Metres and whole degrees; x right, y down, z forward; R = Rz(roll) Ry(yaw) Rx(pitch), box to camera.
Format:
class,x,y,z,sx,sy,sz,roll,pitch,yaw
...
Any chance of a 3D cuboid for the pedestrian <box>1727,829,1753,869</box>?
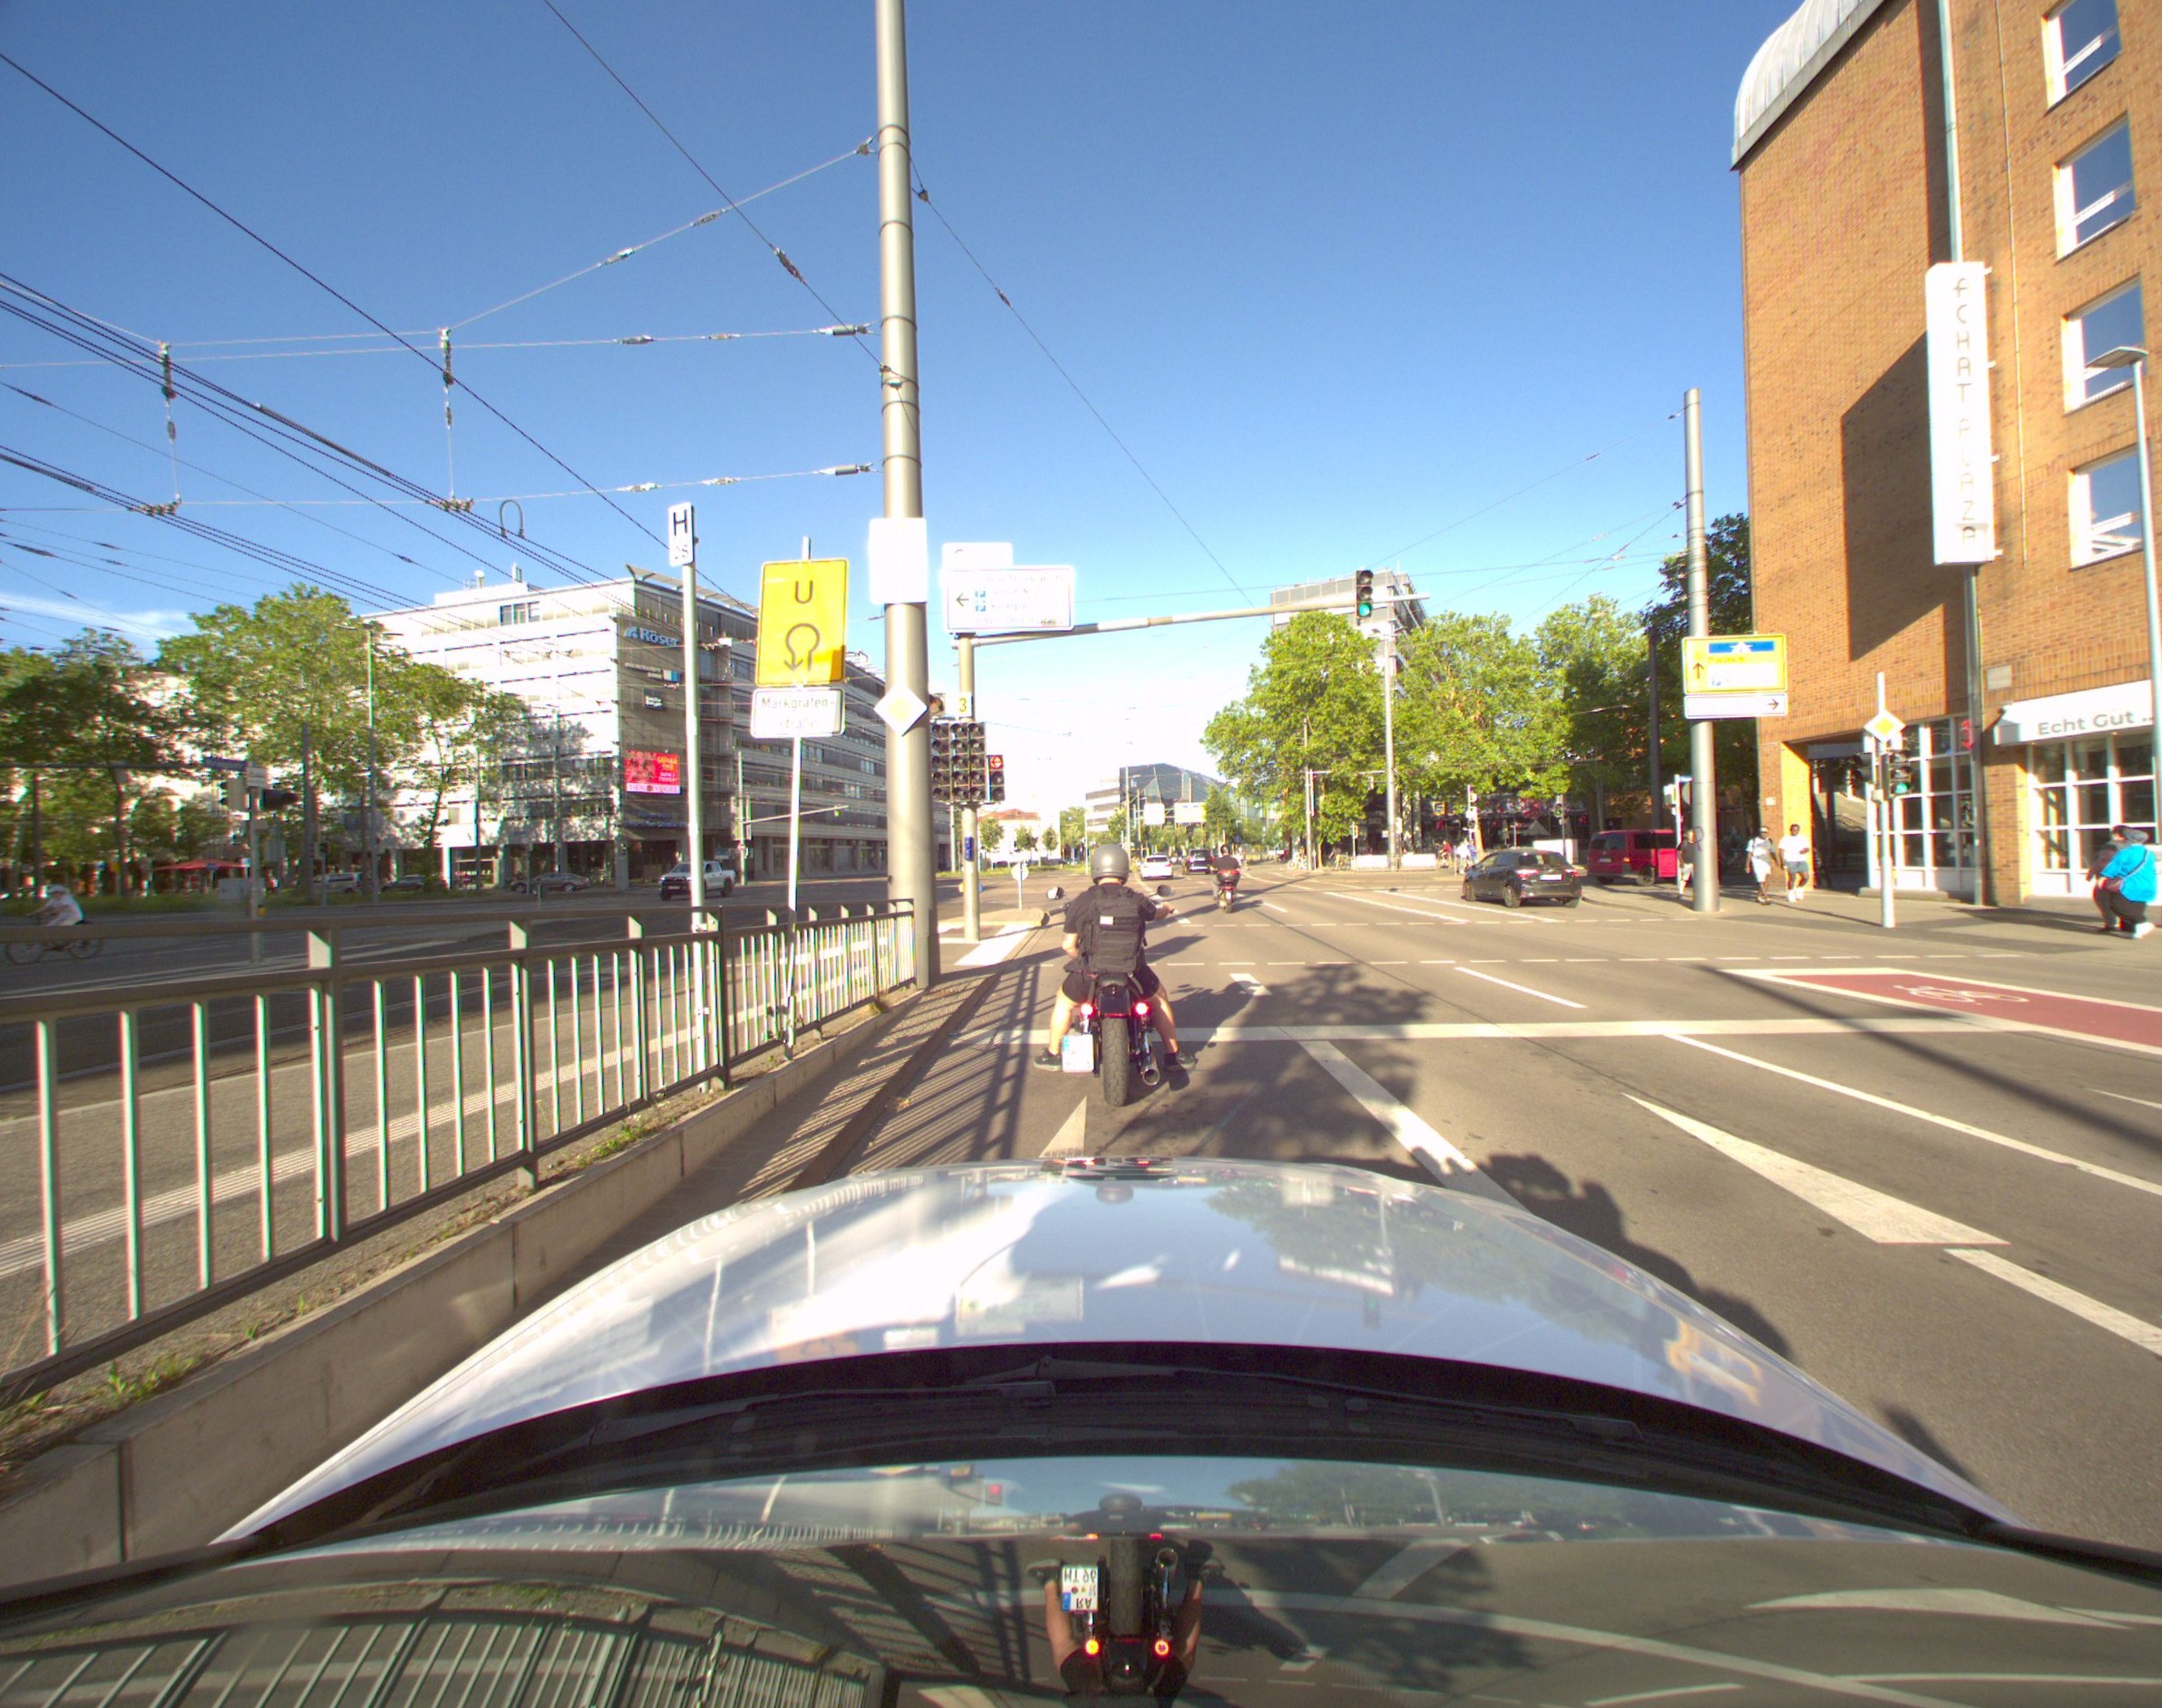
class,x,y,z,sx,sy,sz,roll,pitch,yaw
pedestrian,28.033,-0.206,34.658,0.634,1.700,0.727,-1,-1,21

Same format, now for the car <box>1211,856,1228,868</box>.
class,x,y,z,sx,sy,sz,roll,pitch,yaw
car,20.044,1.205,117.690,1.789,1.678,4.059,0,-1,18

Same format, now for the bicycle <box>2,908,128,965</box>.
class,x,y,z,sx,sy,sz,roll,pitch,yaw
bicycle,-22.637,1.814,18.198,0.458,1.090,1.815,-3,-1,2

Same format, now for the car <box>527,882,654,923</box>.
class,x,y,z,sx,sy,sz,roll,pitch,yaw
car,-13.854,1.359,23.141,2.884,1.063,1.235,0,-1,-19

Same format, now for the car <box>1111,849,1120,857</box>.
class,x,y,z,sx,sy,sz,roll,pitch,yaw
car,8.747,-0.322,204.846,1.982,2.014,4.309,0,-1,8

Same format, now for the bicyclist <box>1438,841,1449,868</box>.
class,x,y,z,sx,sy,sz,roll,pitch,yaw
bicyclist,25.005,0.042,56.169,0.582,1.837,0.403,0,-1,1

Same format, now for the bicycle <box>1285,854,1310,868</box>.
class,x,y,z,sx,sy,sz,roll,pitch,yaw
bicycle,17.291,0.571,65.088,1.854,1.044,0.540,-1,-1,20

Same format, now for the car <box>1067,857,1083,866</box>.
class,x,y,z,sx,sy,sz,roll,pitch,yaw
car,-0.990,1.242,137.554,1.736,1.524,4.016,-1,-1,16

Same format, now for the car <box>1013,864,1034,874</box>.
class,x,y,z,sx,sy,sz,roll,pitch,yaw
car,-8.229,2.099,117.184,1.812,1.430,4.256,-1,-1,13

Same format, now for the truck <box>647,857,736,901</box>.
class,x,y,z,sx,sy,sz,roll,pitch,yaw
truck,-18.644,1.202,39.322,1.990,1.880,5.148,-4,-1,-4

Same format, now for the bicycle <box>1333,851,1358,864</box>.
class,x,y,z,sx,sy,sz,roll,pitch,yaw
bicycle,21.477,0.306,66.175,1.874,1.046,0.360,0,-1,1

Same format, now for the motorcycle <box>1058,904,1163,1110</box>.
class,x,y,z,sx,sy,sz,roll,pitch,yaw
motorcycle,0.206,0.948,5.796,0.598,1.036,2.235,0,0,2

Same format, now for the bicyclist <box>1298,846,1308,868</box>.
class,x,y,z,sx,sy,sz,roll,pitch,yaw
bicyclist,17.712,0.244,64.947,0.682,1.673,0.544,-2,-2,21

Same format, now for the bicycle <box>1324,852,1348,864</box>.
class,x,y,z,sx,sy,sz,roll,pitch,yaw
bicycle,21.486,0.350,68.664,1.874,1.046,0.360,0,0,1

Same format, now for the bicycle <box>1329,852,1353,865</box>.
class,x,y,z,sx,sy,sz,roll,pitch,yaw
bicycle,21.537,0.348,67.545,1.874,1.046,0.360,0,0,1

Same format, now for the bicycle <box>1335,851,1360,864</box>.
class,x,y,z,sx,sy,sz,roll,pitch,yaw
bicycle,21.383,0.285,65.393,1.874,1.046,0.360,0,-1,1

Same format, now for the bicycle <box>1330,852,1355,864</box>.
class,x,y,z,sx,sy,sz,roll,pitch,yaw
bicycle,21.508,0.330,66.989,1.874,1.046,0.360,0,-1,1

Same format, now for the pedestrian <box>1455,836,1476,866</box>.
class,x,y,z,sx,sy,sz,roll,pitch,yaw
pedestrian,21.777,-0.153,46.140,0.829,1.704,0.760,0,-1,2

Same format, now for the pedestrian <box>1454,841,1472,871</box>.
class,x,y,z,sx,sy,sz,roll,pitch,yaw
pedestrian,19.742,0.120,42.086,0.565,1.533,0.701,0,-1,-6

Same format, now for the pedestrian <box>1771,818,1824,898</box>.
class,x,y,z,sx,sy,sz,roll,pitch,yaw
pedestrian,16.399,0.093,18.658,0.588,1.780,0.684,-3,-1,13

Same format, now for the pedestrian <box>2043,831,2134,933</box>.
class,x,y,z,sx,sy,sz,roll,pitch,yaw
pedestrian,15.187,0.417,12.289,0.590,1.476,0.552,-2,-1,2

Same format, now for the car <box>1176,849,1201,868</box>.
class,x,y,z,sx,sy,sz,roll,pitch,yaw
car,9.241,0.373,70.003,1.725,1.598,4.043,0,0,2

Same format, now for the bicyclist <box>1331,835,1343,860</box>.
class,x,y,z,sx,sy,sz,roll,pitch,yaw
bicyclist,18.149,-0.455,57.707,0.693,1.808,0.730,0,-1,6

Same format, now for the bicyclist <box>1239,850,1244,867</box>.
class,x,y,z,sx,sy,sz,roll,pitch,yaw
bicyclist,13.121,0.385,66.760,0.378,1.373,0.346,-1,-1,9

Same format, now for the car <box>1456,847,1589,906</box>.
class,x,y,z,sx,sy,sz,roll,pitch,yaw
car,11.785,0.550,22.067,1.723,1.450,4.047,-1,0,5

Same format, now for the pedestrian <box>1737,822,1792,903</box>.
class,x,y,z,sx,sy,sz,roll,pitch,yaw
pedestrian,15.571,0.181,18.558,0.591,1.779,0.681,-5,2,-2

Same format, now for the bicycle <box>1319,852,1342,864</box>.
class,x,y,z,sx,sy,sz,roll,pitch,yaw
bicycle,21.539,0.356,70.315,1.874,1.046,0.360,0,0,1

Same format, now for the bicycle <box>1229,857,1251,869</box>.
class,x,y,z,sx,sy,sz,roll,pitch,yaw
bicycle,13.023,0.746,66.768,1.814,0.925,0.358,0,-1,9

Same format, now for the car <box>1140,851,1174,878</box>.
class,x,y,z,sx,sy,sz,roll,pitch,yaw
car,4.388,0.624,47.722,1.725,1.457,4.419,0,-1,2

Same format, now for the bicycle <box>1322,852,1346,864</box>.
class,x,y,z,sx,sy,sz,roll,pitch,yaw
bicycle,21.470,0.351,69.164,1.874,1.046,0.360,0,0,1

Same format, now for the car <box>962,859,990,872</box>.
class,x,y,z,sx,sy,sz,roll,pitch,yaw
car,-12.440,1.391,96.865,1.812,1.430,4.546,-2,0,13

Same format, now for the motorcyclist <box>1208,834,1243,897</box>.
class,x,y,z,sx,sy,sz,roll,pitch,yaw
motorcyclist,3.654,0.289,20.593,0.793,1.580,0.529,0,-1,1

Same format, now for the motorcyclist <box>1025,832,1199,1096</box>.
class,x,y,z,sx,sy,sz,roll,pitch,yaw
motorcyclist,0.204,0.674,5.428,1.027,1.593,0.874,-2,0,1

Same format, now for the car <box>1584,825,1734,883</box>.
class,x,y,z,sx,sy,sz,roll,pitch,yaw
car,20.669,-0.006,29.184,4.458,2.009,1.803,0,0,-10

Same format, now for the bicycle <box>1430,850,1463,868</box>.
class,x,y,z,sx,sy,sz,roll,pitch,yaw
bicycle,25.202,0.349,56.154,2.034,1.214,0.421,0,-1,2

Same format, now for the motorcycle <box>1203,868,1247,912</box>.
class,x,y,z,sx,sy,sz,roll,pitch,yaw
motorcycle,3.663,0.892,20.888,0.801,1.050,2.376,0,-1,2

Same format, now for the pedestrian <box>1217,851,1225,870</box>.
class,x,y,z,sx,sy,sz,roll,pitch,yaw
pedestrian,11.758,0.538,68.483,0.587,1.557,0.488,0,-1,-6

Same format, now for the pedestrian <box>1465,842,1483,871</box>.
class,x,y,z,sx,sy,sz,roll,pitch,yaw
pedestrian,20.330,0.135,42.132,0.565,1.479,0.701,0,-1,-6

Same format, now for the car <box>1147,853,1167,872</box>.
class,x,y,z,sx,sy,sz,roll,pitch,yaw
car,7.164,0.818,77.285,1.795,1.678,4.046,0,-1,5

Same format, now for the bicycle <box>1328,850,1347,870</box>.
class,x,y,z,sx,sy,sz,roll,pitch,yaw
bicycle,18.161,0.455,57.689,0.722,1.367,2.922,0,-1,6

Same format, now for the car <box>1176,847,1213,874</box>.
class,x,y,z,sx,sy,sz,roll,pitch,yaw
car,7.776,0.412,56.274,1.727,1.732,4.608,0,0,-2

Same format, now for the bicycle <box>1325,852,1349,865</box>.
class,x,y,z,sx,sy,sz,roll,pitch,yaw
bicycle,21.462,0.357,68.178,1.874,1.046,0.360,0,-1,1

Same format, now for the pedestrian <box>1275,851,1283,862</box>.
class,x,y,z,sx,sy,sz,roll,pitch,yaw
pedestrian,21.980,0.282,90.431,0.814,1.314,0.640,-1,-1,11

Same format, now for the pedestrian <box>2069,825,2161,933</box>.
class,x,y,z,sx,sy,sz,roll,pitch,yaw
pedestrian,14.869,0.356,11.645,0.590,1.452,0.601,-6,-1,2

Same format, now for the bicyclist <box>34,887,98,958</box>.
class,x,y,z,sx,sy,sz,roll,pitch,yaw
bicyclist,-22.684,1.513,18.211,0.584,1.534,0.650,0,-1,2

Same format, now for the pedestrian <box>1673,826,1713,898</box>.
class,x,y,z,sx,sy,sz,roll,pitch,yaw
pedestrian,15.453,0.210,20.564,0.727,1.792,0.515,-1,-1,42
